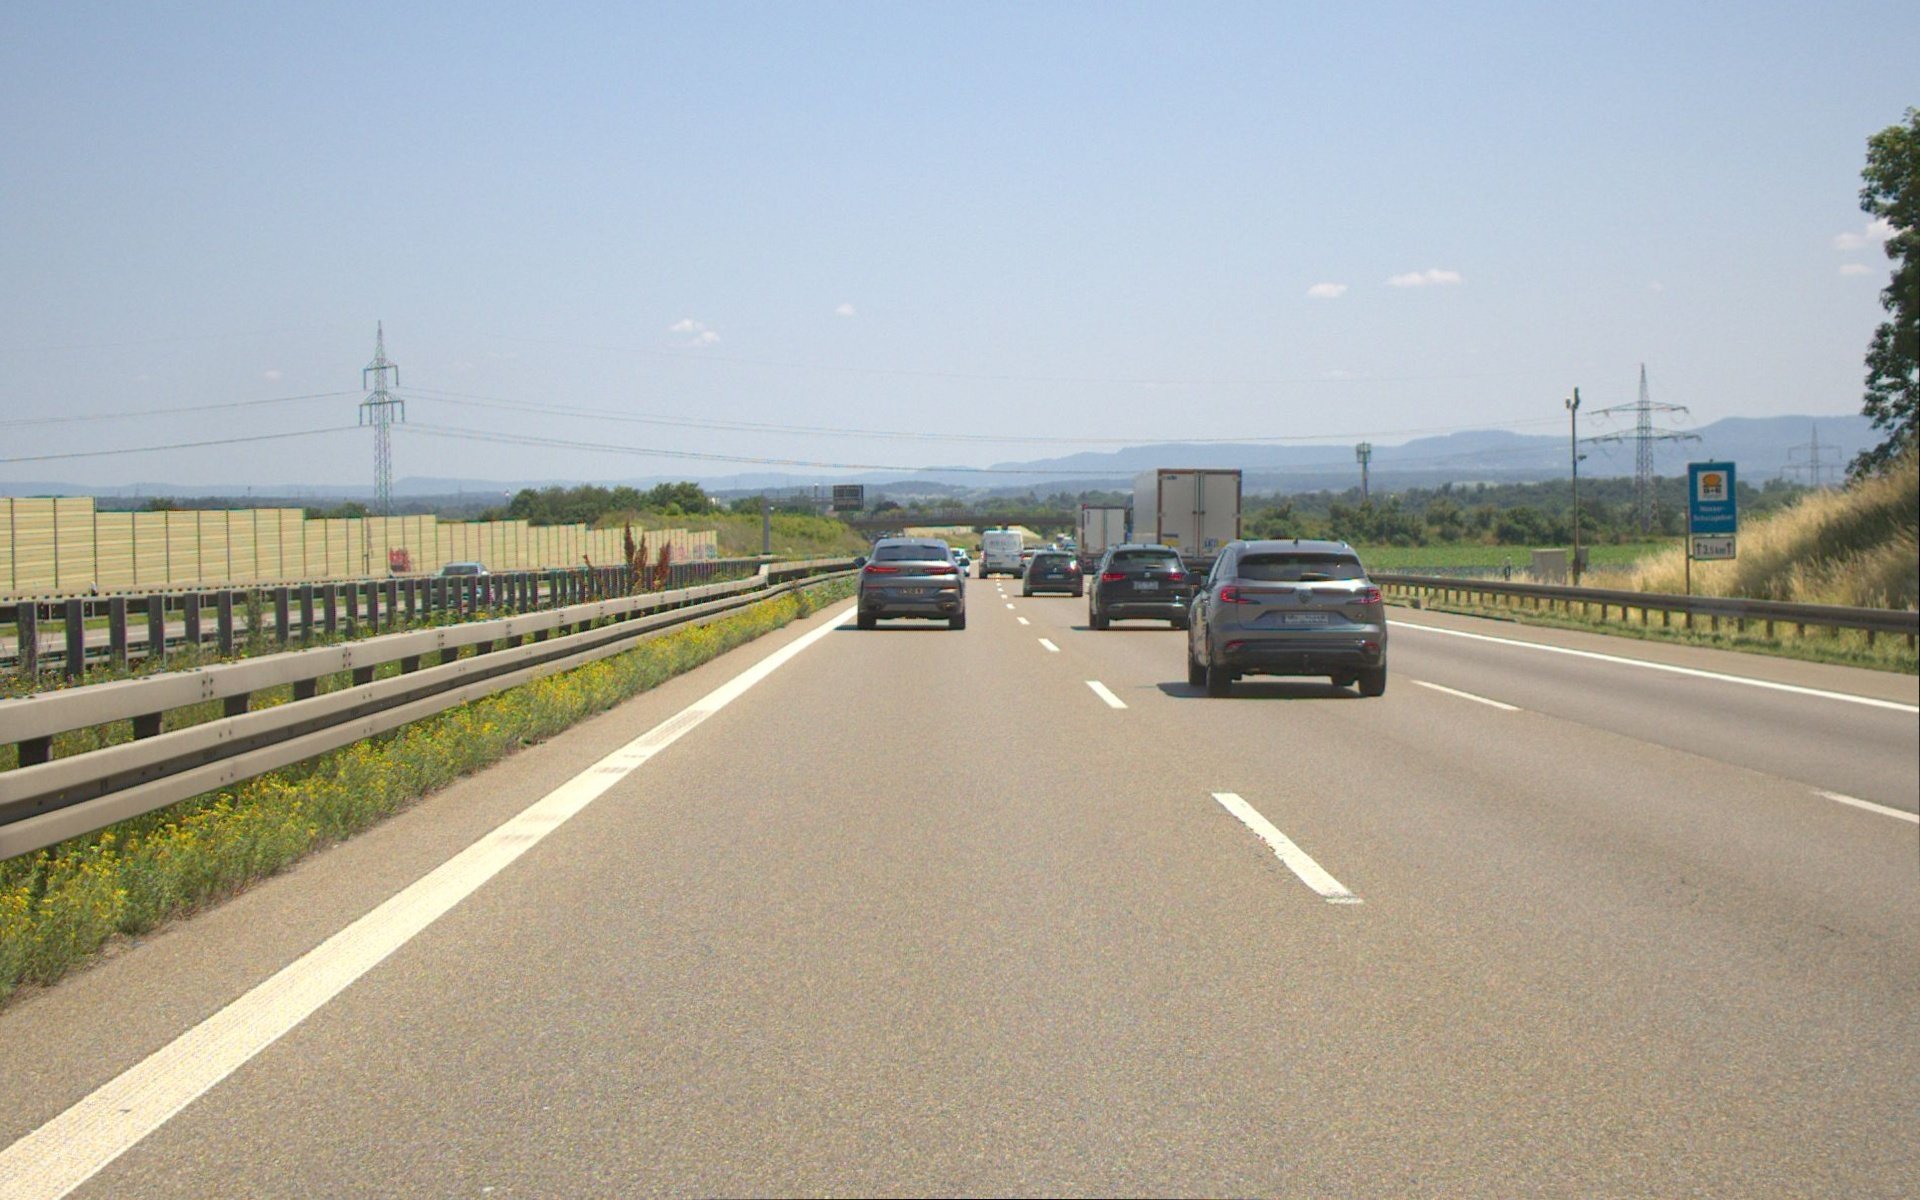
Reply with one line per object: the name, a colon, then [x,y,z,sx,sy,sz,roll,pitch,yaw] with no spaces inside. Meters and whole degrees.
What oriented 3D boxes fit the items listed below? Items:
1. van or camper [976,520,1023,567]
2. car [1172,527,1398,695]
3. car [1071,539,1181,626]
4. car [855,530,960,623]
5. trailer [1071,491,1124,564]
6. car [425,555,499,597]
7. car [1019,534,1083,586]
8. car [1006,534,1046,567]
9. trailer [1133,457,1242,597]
van or camper: [1.950,-2.732,167.895,2.111,2.204,5.265,1,1,2]
car: [3.373,0.082,36.475,1.851,1.643,4.645,1,1,-1]
car: [3.083,-0.347,64.581,1.796,1.556,3.824,1,1,-1]
car: [-0.978,-0.445,63.753,1.851,1.658,3.735,1,1,-1]
trailer: [8.128,-4.231,203.917,2.943,4.184,13.596,1,1,2]
car: [-18.031,-0.890,124.723,1.993,1.459,4.814,-1,1,0]
car: [2.849,-1.250,108.206,1.933,1.569,4.934,1,1,1]
car: [3.483,-2.599,180.995,1.993,1.677,4.000,1,1,2]
trailer: [7.280,-2.304,111.683,2.868,4.205,13.294,1,1,1]
